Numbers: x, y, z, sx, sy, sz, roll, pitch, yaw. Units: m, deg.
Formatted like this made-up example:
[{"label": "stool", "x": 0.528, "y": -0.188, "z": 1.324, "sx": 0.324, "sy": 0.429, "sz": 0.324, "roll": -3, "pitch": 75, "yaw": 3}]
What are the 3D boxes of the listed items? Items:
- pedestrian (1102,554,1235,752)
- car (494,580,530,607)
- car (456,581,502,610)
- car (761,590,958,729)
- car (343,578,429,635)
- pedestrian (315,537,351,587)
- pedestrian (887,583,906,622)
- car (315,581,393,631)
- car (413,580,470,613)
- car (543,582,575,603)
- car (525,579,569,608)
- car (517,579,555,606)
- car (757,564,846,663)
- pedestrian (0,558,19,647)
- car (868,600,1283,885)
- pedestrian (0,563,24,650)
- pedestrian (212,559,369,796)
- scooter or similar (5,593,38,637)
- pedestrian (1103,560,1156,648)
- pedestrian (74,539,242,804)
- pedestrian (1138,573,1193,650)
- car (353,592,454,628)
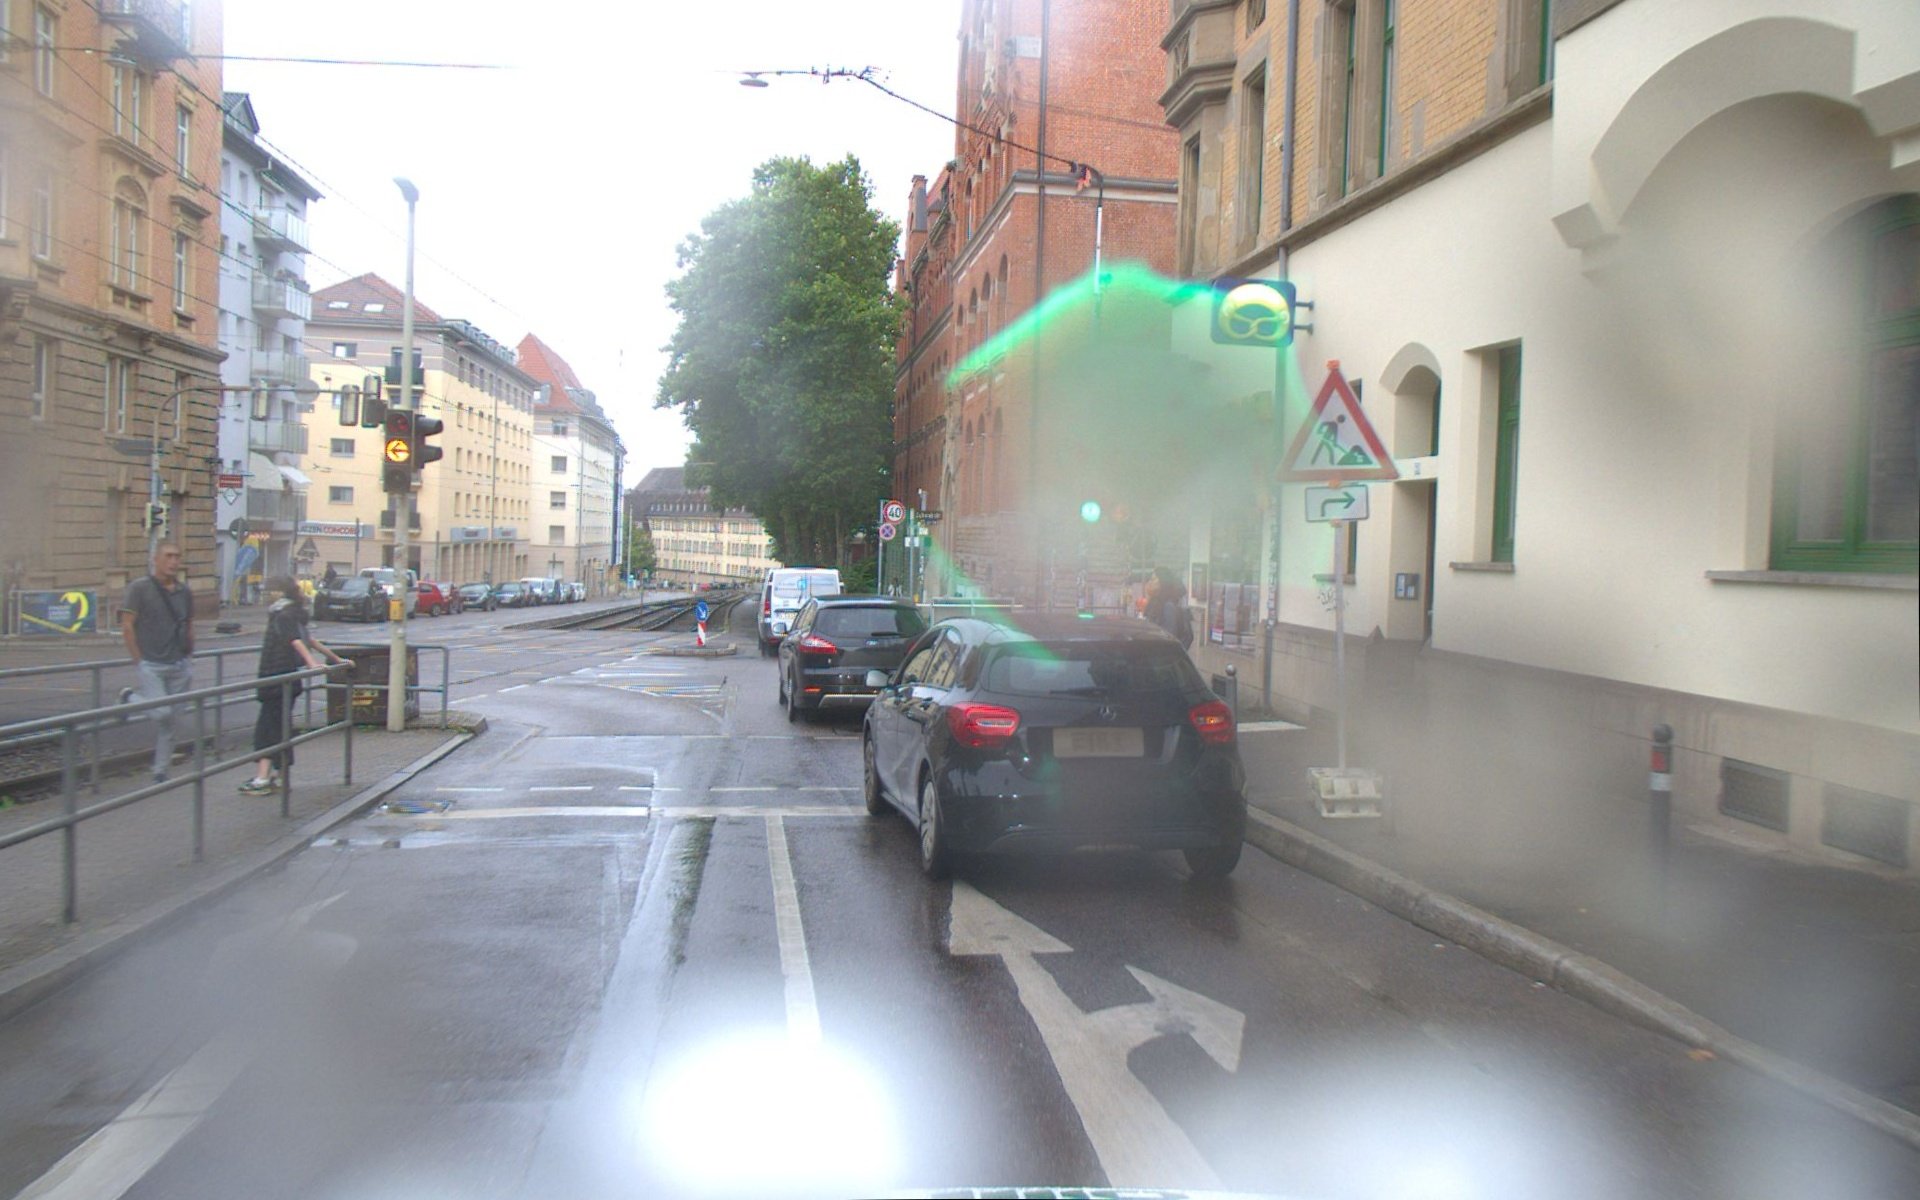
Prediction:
[{"label": "pedestrian", "x": 1.932, "y": 0.479, "z": 15.446, "sx": 0.997, "sy": 1.750, "sz": 0.929, "roll": -2, "pitch": 0, "yaw": -6}, {"label": "car", "x": -26.675, "y": -0.394, "z": 98.544, "sx": 1.819, "sy": 1.534, "sz": 4.976, "roll": 1, "pitch": 0, "yaw": -12}, {"label": "car", "x": -24.766, "y": -0.211, "z": 85.304, "sx": 1.648, "sy": 1.420, "sz": 4.613, "roll": 1, "pitch": 0, "yaw": -8}, {"label": "car", "x": -1.350, "y": 0.658, "z": 20.331, "sx": 1.898, "sy": 1.478, "sz": 4.307, "roll": 2, "pitch": 0, "yaw": -10}, {"label": "car", "x": -22.638, "y": 0.213, "z": 65.438, "sx": 2.031, "sy": 2.044, "sz": 5.293, "roll": 4, "pitch": 0, "yaw": -7}, {"label": "pedestrian", "x": -25.593, "y": -1.546, "z": 67.544, "sx": 1.151, "sy": 1.962, "sz": 1.174, "roll": 1, "pitch": 0, "yaw": -13}, {"label": "pedestrian", "x": -2.814, "y": 0.094, "z": 72.974, "sx": 0.807, "sy": 1.708, "sz": 0.859, "roll": 1, "pitch": 0, "yaw": -5}, {"label": "car", "x": -21.671, "y": 0.204, "z": 59.297, "sx": 1.700, "sy": 1.680, "sz": 4.356, "roll": 1, "pitch": 0, "yaw": -8}, {"label": "car", "x": -23.865, "y": -0.155, "z": 76.286, "sx": 1.621, "sy": 1.477, "sz": 4.070, "roll": 1, "pitch": 0, "yaw": -5}, {"label": "car", "x": -30.338, "y": -0.598, "z": 125.289, "sx": 1.779, "sy": 1.525, "sz": 4.575, "roll": 2, "pitch": 0, "yaw": -7}, {"label": "car", "x": -28.889, "y": -0.445, "z": 115.955, "sx": 1.954, "sy": 1.938, "sz": 5.455, "roll": 3, "pitch": 0, "yaw": -4}, {"label": "car", "x": -28.116, "y": -0.466, "z": 109.795, "sx": 1.831, "sy": 1.747, "sz": 4.453, "roll": 1, "pitch": 0, "yaw": -7}, {"label": "car", "x": -3.569, "y": 0.286, "z": 36.750, "sx": 1.708, "sy": 2.049, "sz": 3.895, "roll": 1, "pitch": 0, "yaw": -9}, {"label": "pedestrian", "x": -20.250, "y": 0.049, "z": 34.858, "sx": 0.622, "sy": 1.872, "sz": 0.631, "roll": 0, "pitch": 0, "yaw": -40}, {"label": "car", "x": 0.492, "y": 0.731, "z": 10.335, "sx": 1.760, "sy": 1.399, "sz": 3.993, "roll": 2, "pitch": 0, "yaw": -8}, {"label": "pedestrian", "x": -20.202, "y": 0.133, "z": 34.902, "sx": 0.622, "sy": 1.797, "sz": 0.630, "roll": -3, "pitch": 5, "yaw": -43}, {"label": "pedestrian", "x": -4.809, "y": 0.535, "z": 11.947, "sx": 0.819, "sy": 1.633, "sz": 0.999, "roll": 1, "pitch": 0, "yaw": -9}, {"label": "scooter or similar", "x": -20.427, "y": 0.323, "z": 35.998, "sx": 0.549, "sy": 0.961, "sz": 0.570, "roll": 1, "pitch": 0, "yaw": -38}, {"label": "pedestrian", "x": 3.774, "y": 0.086, "z": 36.870, "sx": 0.940, "sy": 1.920, "sz": 1.071, "roll": -1, "pitch": 0, "yaw": -8}, {"label": "pedestrian", "x": -5.773, "y": 0.497, "z": 11.965, "sx": 0.810, "sy": 1.830, "sz": 0.999, "roll": 1, "pitch": 0, "yaw": -9}, {"label": "pedestrian", "x": 4.530, "y": 0.250, "z": 36.530, "sx": 0.940, "sy": 1.654, "sz": 1.071, "roll": -1, "pitch": 0, "yaw": -8}, {"label": "car", "x": -23.536, "y": 0.429, "z": 70.103, "sx": 1.745, "sy": 1.459, "sz": 3.978, "roll": 1, "pitch": 0, "yaw": 26}]
